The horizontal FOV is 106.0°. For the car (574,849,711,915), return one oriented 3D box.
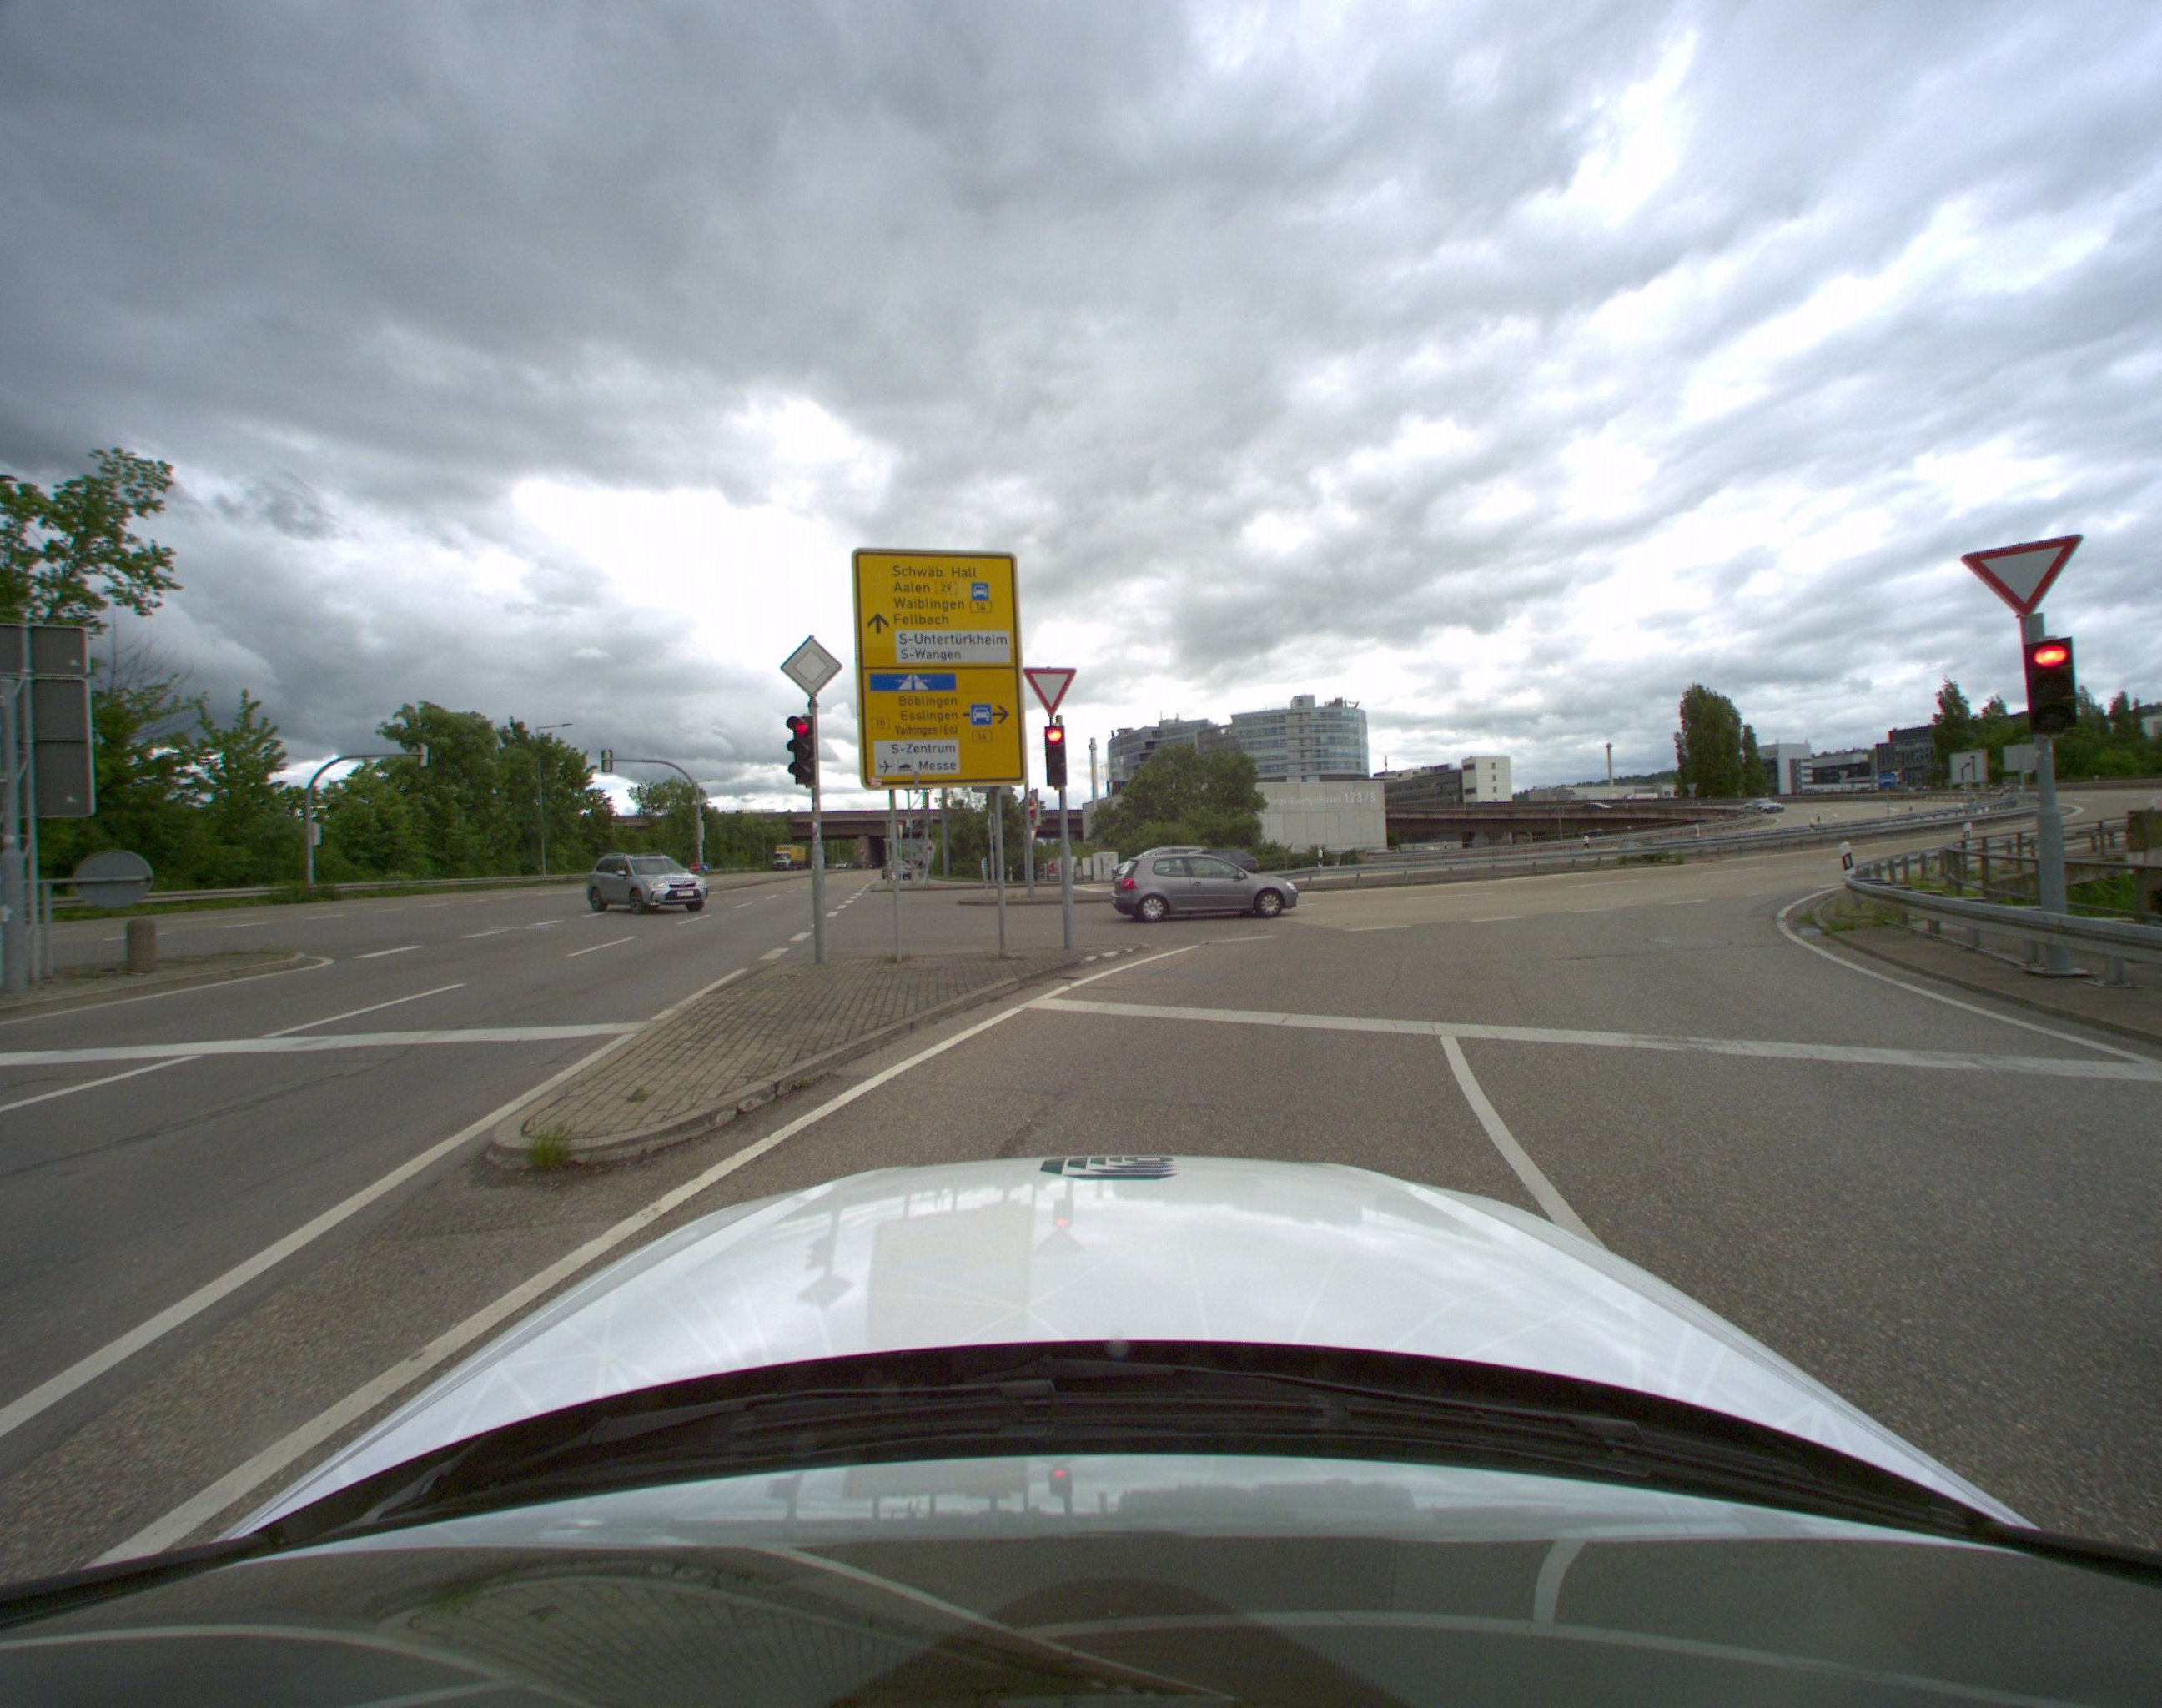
[{"bbox_3d":[-12.854,0.788,23.791,4.496,1.737,1.741,-2,0,37],"label":"car"}]

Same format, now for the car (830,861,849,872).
[{"bbox_3d":[-45.395,2.376,153.039,2.009,1.859,3.956,2,0,-37],"label":"car"}]

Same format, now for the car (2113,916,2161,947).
[{"bbox_3d":[56.736,4.096,42.142,1.831,1.354,3.830,-3,1,-26],"label":"car"}]

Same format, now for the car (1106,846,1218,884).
[{"bbox_3d":[3.639,0.461,36.768,4.686,1.571,1.946,-1,1,-15],"label":"car"}]

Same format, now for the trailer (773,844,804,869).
[{"bbox_3d":[-49.566,0.440,138.246,2.871,4.084,11.388,1,0,-10],"label":"trailer"}]

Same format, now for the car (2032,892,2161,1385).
[{"bbox_3d":[3.578,0.770,0.278,1.796,1.291,4.270,0,0,6],"label":"car"}]

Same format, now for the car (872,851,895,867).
[{"bbox_3d":[-19.783,0.553,81.608,1.994,1.464,4.094,0,-2,-11],"label":"car"}]

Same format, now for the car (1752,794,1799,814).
[{"bbox_3d":[69.799,-5.032,81.941,1.894,1.662,4.769,2,0,18],"label":"car"}]

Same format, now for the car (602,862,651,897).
[{"bbox_3d":[-19.967,1.082,35.886,1.734,1.400,4.029,-2,0,-28],"label":"car"}]

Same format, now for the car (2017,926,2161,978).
[{"bbox_3d":[45.765,4.383,37.071,1.831,1.760,3.830,-3,1,-26],"label":"car"}]

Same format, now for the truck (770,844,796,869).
[{"bbox_3d":[-48.649,0.395,133.028,2.872,4.084,6.465,1,0,-10],"label":"truck"}]

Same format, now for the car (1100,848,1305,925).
[{"bbox_3d":[2.641,0.678,18.261,4.225,1.461,1.726,-2,1,-7],"label":"car"}]

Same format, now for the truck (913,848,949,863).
[{"bbox_3d":[-27.333,0.267,148.304,5.788,2.624,2.600,3,-1,-25],"label":"truck"}]

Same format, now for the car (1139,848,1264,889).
[{"bbox_3d":[4.842,0.547,32.907,4.613,1.457,1.946,-1,1,-15],"label":"car"}]

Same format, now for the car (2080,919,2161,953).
[{"bbox_3d":[54.005,4.181,41.365,1.831,1.354,3.830,-3,1,-26],"label":"car"}]

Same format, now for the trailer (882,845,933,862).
[{"bbox_3d":[-31.162,-0.022,146.377,8.581,2.624,2.589,3,-1,-25],"label":"trailer"}]

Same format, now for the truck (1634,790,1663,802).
[{"bbox_3d":[119.000,-12.172,170.831,4.564,2.171,2.004,2,0,6],"label":"truck"}]

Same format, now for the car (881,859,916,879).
[{"bbox_3d":[-14.222,1.169,63.255,2.002,1.442,4.079,0,-2,-22],"label":"car"}]
